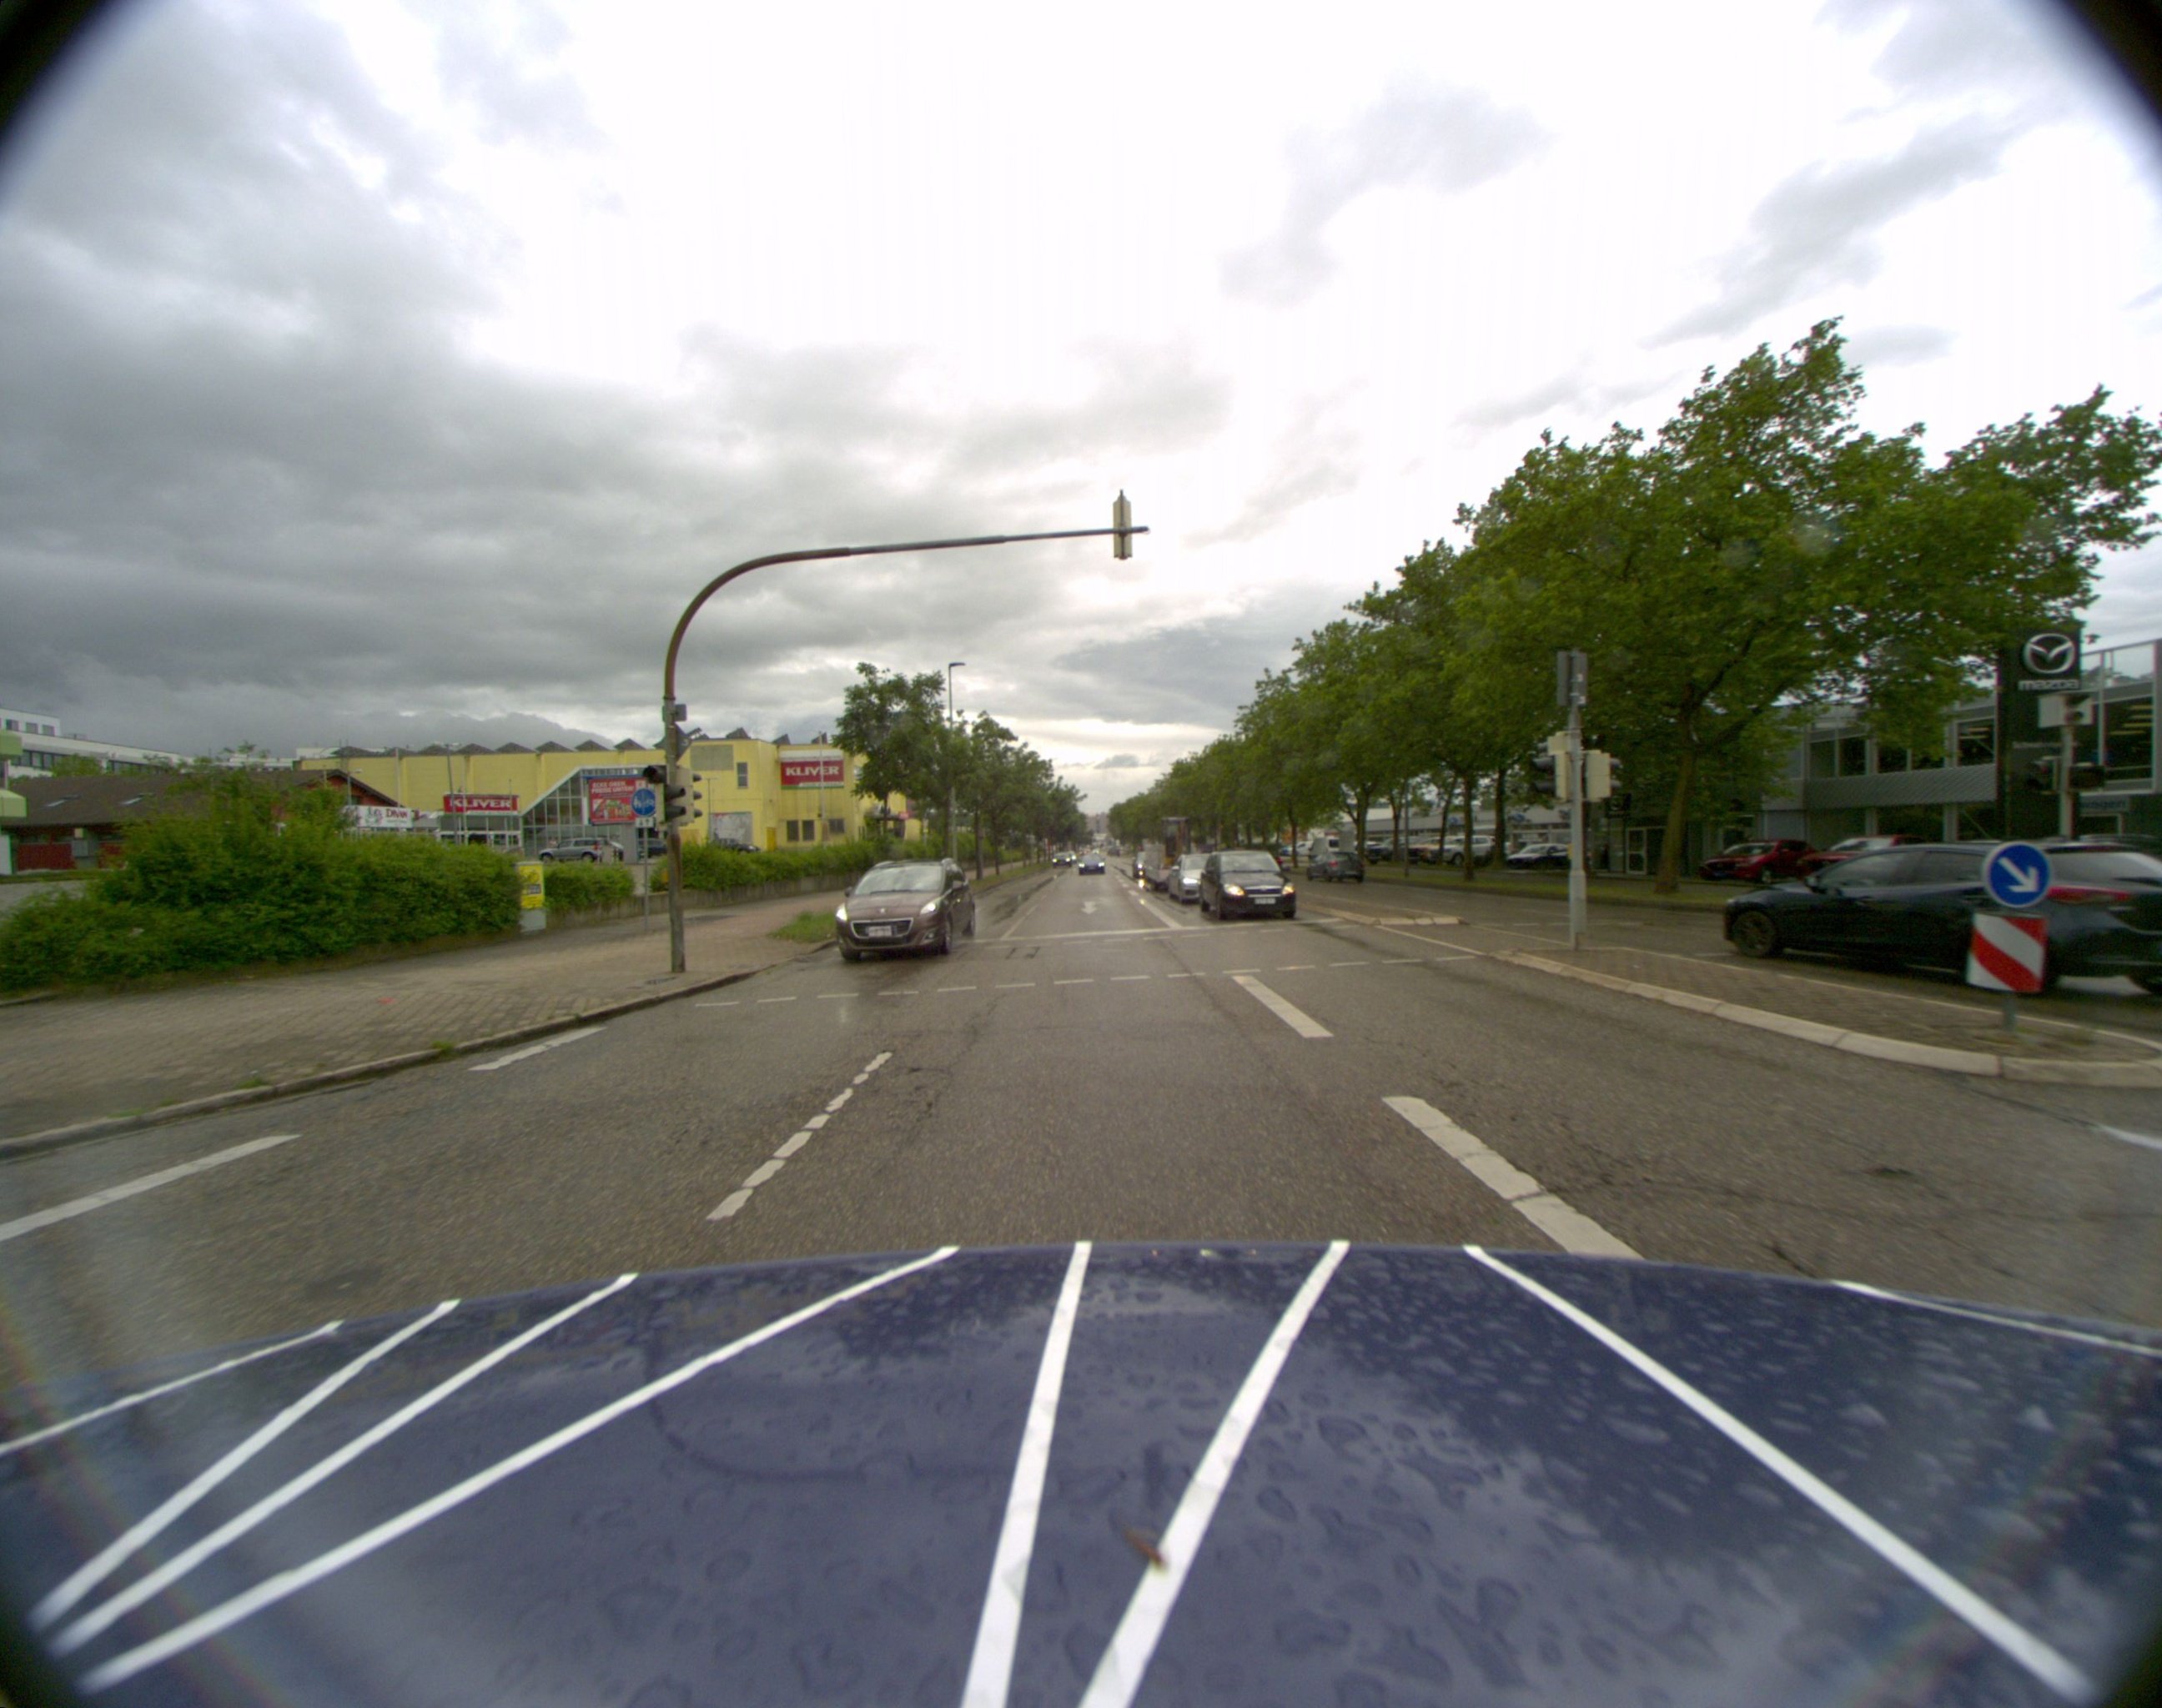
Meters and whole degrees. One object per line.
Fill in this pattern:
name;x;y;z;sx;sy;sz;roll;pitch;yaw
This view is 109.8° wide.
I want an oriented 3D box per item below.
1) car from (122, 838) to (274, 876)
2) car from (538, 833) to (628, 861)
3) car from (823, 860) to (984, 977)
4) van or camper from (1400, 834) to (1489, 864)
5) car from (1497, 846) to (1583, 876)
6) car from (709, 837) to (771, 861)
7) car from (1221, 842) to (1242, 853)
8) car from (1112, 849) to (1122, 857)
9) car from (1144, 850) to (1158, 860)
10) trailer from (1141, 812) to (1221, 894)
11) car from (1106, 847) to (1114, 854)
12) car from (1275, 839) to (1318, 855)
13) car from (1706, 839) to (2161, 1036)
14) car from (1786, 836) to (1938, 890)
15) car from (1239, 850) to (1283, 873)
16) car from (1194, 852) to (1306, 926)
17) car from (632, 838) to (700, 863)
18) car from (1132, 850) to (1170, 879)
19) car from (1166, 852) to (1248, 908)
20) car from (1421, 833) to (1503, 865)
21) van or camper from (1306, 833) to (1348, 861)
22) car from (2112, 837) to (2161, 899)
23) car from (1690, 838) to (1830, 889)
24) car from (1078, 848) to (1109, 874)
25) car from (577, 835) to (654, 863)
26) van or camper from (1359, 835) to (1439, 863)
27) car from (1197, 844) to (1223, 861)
car;-45.742;0.140;39.464;4.981;1.768;2.381;-1;0;-1
car;-32.086;-0.447;49.035;4.382;1.729;2.000;-1;0;-1
car;-2.991;1.009;13.827;1.730;1.615;4.470;-3;1;1
van or camper;23.791;-0.388;49.750;5.380;1.760;2.100;-2;4;-22
car;25.192;0.351;41.676;4.474;1.442;1.995;-2;1;-27
car;-26.985;-0.424;60.185;3.997;1.768;2.000;-1;0;-1
car;23.214;-1.024;117.462;2.123;1.487;5.246;-1;1;0
car;7.494;-0.224;157.570;1.671;1.454;4.178;-1;1;-4
car;10.853;0.172;118.426;1.741;1.421;4.536;-1;1;-1
trailer;3.795;-0.080;29.895;2.379;2.880;5.544;-1;1;0
car;6.764;-0.849;178.208;1.767;1.522;3.858;0;1;2
car;28.741;-0.923;101.487;5.058;2.002;2.129;-2;1;-1
car;9.223;0.654;8.106;1.715;1.571;3.999;0;0;-3
car;25.587;0.251;24.910;4.237;1.644;2.008;-1;1;-22
car;11.288;0.423;47.858;1.715;1.375;4.173;1;1;-1
car;3.766;0.712;17.626;1.717;1.481;4.077;-1;0;1
car;-31.413;-0.258;57.549;3.997;1.768;2.000;-1;0;-1
car;4.054;0.558;44.747;1.912;1.569;4.880;-1;1;1
car;3.737;0.708;23.316;1.770;1.450;4.780;-1;1;1
car;23.266;-0.317;46.409;4.472;1.805;1.996;-2;1;-21
van or camper;23.334;-0.695;72.376;1.998;2.456;6.401;-3;1;2
car;26.062;0.273;17.073;3.750;1.383;1.690;-1;0;-4
car;25.198;0.313;28.205;4.573;1.587;1.996;-3;1;-21
car;0.925;0.452;53.664;1.998;1.633;4.360;-3;1;2
car;-31.931;-0.347;52.192;3.997;1.768;2.000;-1;0;-1
van or camper;22.593;-0.381;53.972;5.306;1.811;2.262;-2;1;-24
car;11.886;-0.163;70.189;1.714;1.456;4.084;-1;1;0
